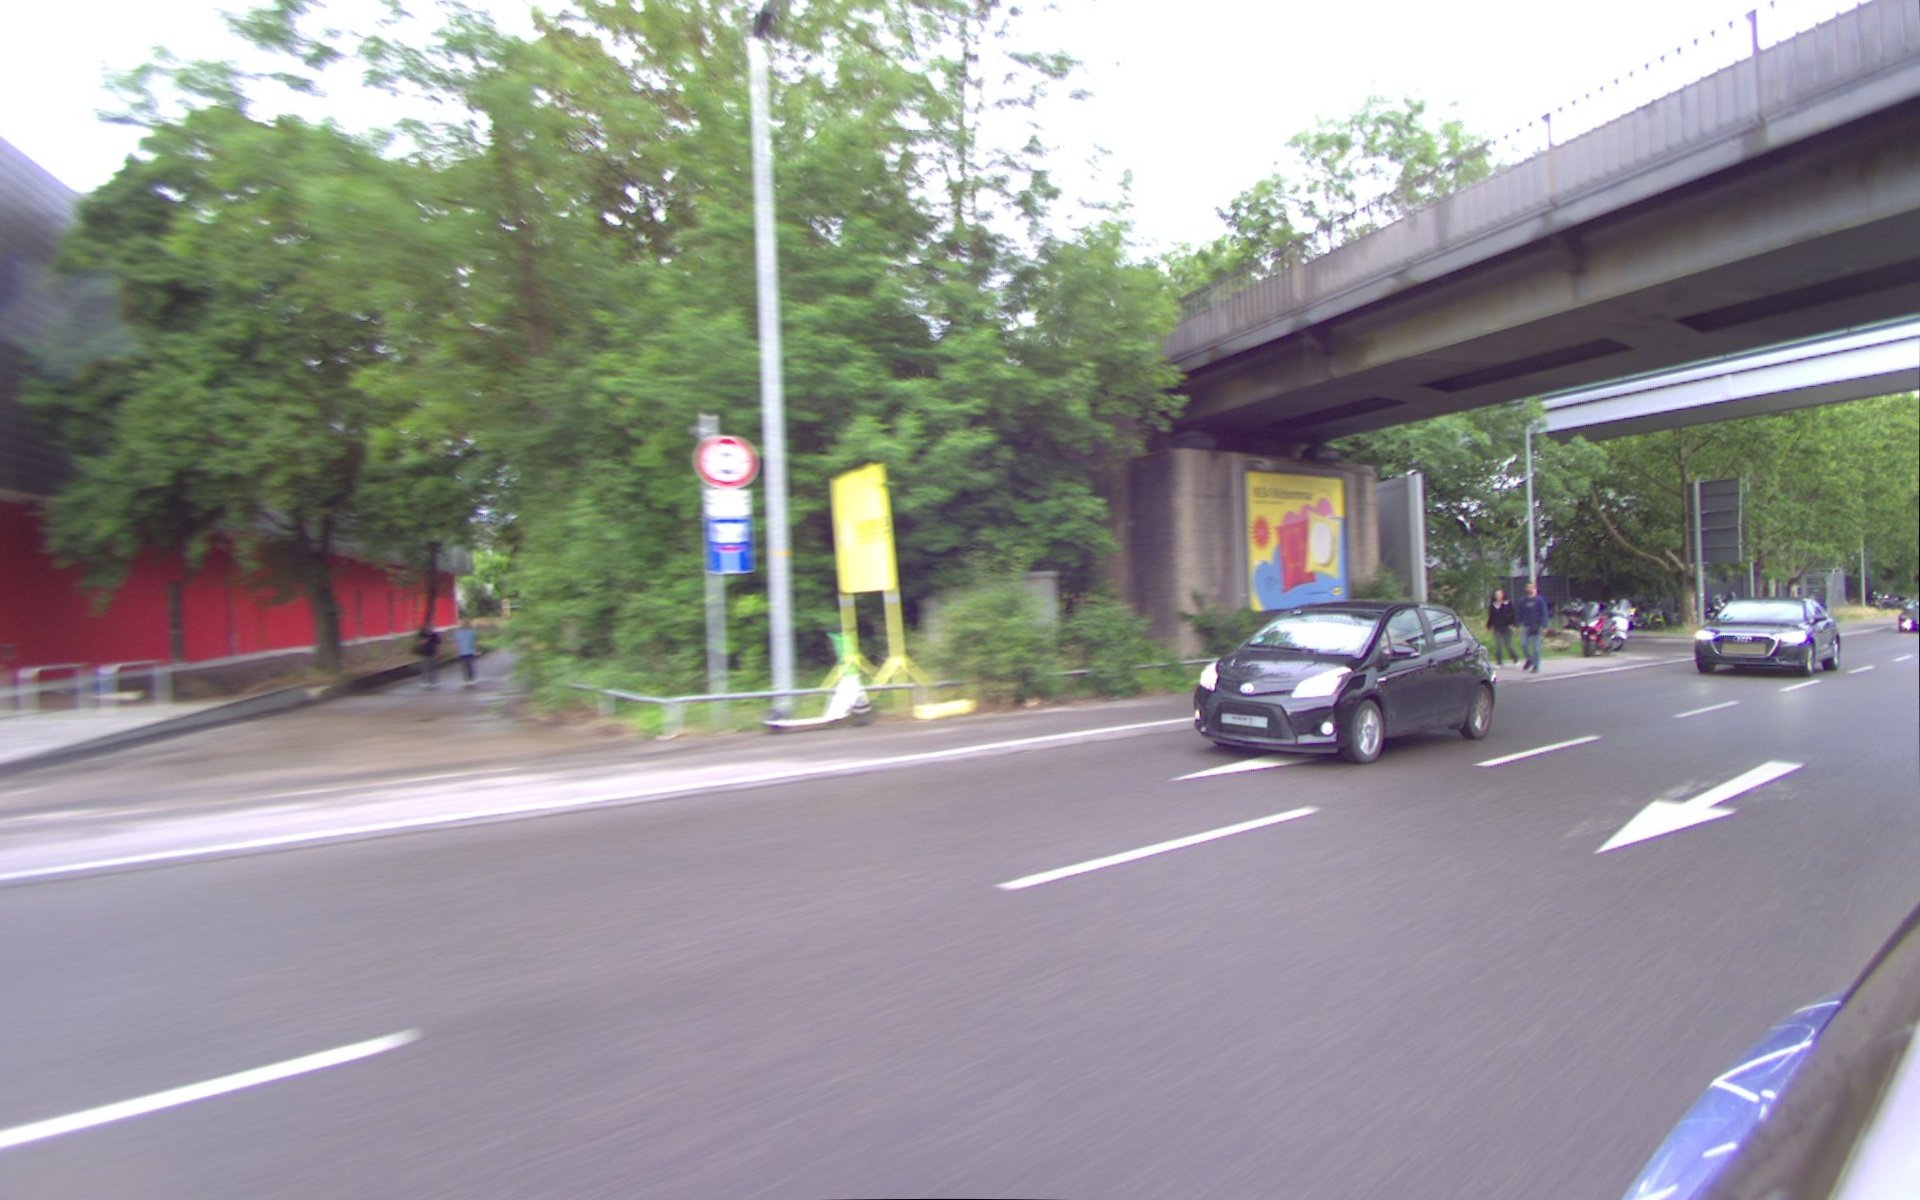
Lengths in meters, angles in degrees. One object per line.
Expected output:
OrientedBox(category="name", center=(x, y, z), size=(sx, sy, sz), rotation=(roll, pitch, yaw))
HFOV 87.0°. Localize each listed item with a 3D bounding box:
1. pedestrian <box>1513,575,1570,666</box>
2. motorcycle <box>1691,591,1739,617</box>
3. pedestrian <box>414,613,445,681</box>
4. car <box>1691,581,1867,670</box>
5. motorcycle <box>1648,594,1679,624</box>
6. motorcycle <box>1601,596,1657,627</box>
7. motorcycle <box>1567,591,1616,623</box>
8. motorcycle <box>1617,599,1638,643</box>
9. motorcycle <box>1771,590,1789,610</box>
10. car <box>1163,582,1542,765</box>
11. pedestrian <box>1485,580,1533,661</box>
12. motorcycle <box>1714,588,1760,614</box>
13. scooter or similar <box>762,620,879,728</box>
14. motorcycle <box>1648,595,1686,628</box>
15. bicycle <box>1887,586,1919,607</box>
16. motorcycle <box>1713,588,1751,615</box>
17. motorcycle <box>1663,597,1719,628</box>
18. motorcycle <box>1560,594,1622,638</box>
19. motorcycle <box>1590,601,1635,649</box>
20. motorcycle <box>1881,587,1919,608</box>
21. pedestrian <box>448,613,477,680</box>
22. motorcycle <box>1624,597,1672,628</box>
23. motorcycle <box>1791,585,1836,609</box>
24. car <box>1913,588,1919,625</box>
OrientedBox(category="pedestrian", center=(11.505, 0.388, 20.023), size=(0.874, 1.743, 0.613), rotation=(-1, 0, -30))
OrientedBox(category="motorcycle", center=(39.895, 0.221, 53.477), size=(0.482, 1.274, 1.920), rotation=(-2, -1, -33))
OrientedBox(category="pedestrian", center=(-14.600, 1.293, 27.844), size=(0.612, 1.839, 0.587), rotation=(-1, -1, -12))
OrientedBox(category="car", center=(17.189, 0.449, 21.116), size=(5.510, 1.564, 1.818), rotation=(-2, 0, -40))
OrientedBox(category="motorcycle", center=(31.588, 0.405, 45.421), size=(1.956, 1.295, 0.646), rotation=(-1, 0, -40))
OrientedBox(category="motorcycle", center=(29.449, 0.486, 44.551), size=(2.234, 1.295, 0.522), rotation=(-1, 0, -9))
OrientedBox(category="motorcycle", center=(26.404, 0.280, 42.325), size=(2.028, 1.295, 0.350), rotation=(-1, -1, -12))
OrientedBox(category="motorcycle", center=(19.308, 0.586, 29.267), size=(0.468, 1.228, 1.920), rotation=(-1, 0, 34))
OrientedBox(category="motorcycle", center=(47.695, -0.009, 58.865), size=(0.474, 1.160, 1.877), rotation=(-3, -1, 30))
OrientedBox(category="car", center=(4.316, 0.620, 10.755), size=(4.559, 1.488, 1.748), rotation=(-2, 0, -40))
OrientedBox(category="pedestrian", center=(11.258, 0.408, 20.767), size=(0.567, 1.616, 0.653), rotation=(-1, 0, -28))
OrientedBox(category="motorcycle", center=(42.864, 0.061, 55.844), size=(0.498, 1.382, 1.929), rotation=(-1, -2, -44))
OrientedBox(category="scooter or similar", center=(-1.543, 0.802, 11.239), size=(1.253, 1.144, 0.256), rotation=(-1, -1, -23))
OrientedBox(category="motorcycle", center=(28.215, 0.456, 40.429), size=(0.621, 1.269, 1.845), rotation=(-1, 0, 15))
OrientedBox(category="bicycle", center=(62.450, -0.243, 66.768), size=(1.854, 1.365, 0.441), rotation=(0, 0, 39))
OrientedBox(category="motorcycle", center=(41.565, 0.102, 54.487), size=(0.498, 1.382, 1.499), rotation=(-1, -2, -44))
OrientedBox(category="motorcycle", center=(29.740, 0.502, 41.209), size=(1.842, 1.269, 0.622), rotation=(-1, 0, 36))
OrientedBox(category="motorcycle", center=(19.465, 0.476, 31.250), size=(0.536, 1.314, 1.946), rotation=(-1, 0, -5))
OrientedBox(category="motorcycle", center=(16.519, 0.623, 25.603), size=(1.787, 1.151, 0.470), rotation=(-1, 0, -41))
OrientedBox(category="motorcycle", center=(59.838, -0.147, 64.211), size=(0.432, 1.289, 2.018), rotation=(-1, 1, -27))
OrientedBox(category="pedestrian", center=(-13.795, 1.287, 28.096), size=(0.588, 1.839, 0.587), rotation=(-1, -1, -12))
OrientedBox(category="motorcycle", center=(29.492, 0.531, 43.390), size=(1.816, 1.295, 0.522), rotation=(-1, 0, -8))
OrientedBox(category="motorcycle", center=(44.358, -0.159, 52.599), size=(0.483, 1.165, 1.659), rotation=(-2, -1, -31))
OrientedBox(category="car", center=(40.338, 0.189, 41.174), size=(4.438, 1.448, 1.748), rotation=(-2, 0, -40))
